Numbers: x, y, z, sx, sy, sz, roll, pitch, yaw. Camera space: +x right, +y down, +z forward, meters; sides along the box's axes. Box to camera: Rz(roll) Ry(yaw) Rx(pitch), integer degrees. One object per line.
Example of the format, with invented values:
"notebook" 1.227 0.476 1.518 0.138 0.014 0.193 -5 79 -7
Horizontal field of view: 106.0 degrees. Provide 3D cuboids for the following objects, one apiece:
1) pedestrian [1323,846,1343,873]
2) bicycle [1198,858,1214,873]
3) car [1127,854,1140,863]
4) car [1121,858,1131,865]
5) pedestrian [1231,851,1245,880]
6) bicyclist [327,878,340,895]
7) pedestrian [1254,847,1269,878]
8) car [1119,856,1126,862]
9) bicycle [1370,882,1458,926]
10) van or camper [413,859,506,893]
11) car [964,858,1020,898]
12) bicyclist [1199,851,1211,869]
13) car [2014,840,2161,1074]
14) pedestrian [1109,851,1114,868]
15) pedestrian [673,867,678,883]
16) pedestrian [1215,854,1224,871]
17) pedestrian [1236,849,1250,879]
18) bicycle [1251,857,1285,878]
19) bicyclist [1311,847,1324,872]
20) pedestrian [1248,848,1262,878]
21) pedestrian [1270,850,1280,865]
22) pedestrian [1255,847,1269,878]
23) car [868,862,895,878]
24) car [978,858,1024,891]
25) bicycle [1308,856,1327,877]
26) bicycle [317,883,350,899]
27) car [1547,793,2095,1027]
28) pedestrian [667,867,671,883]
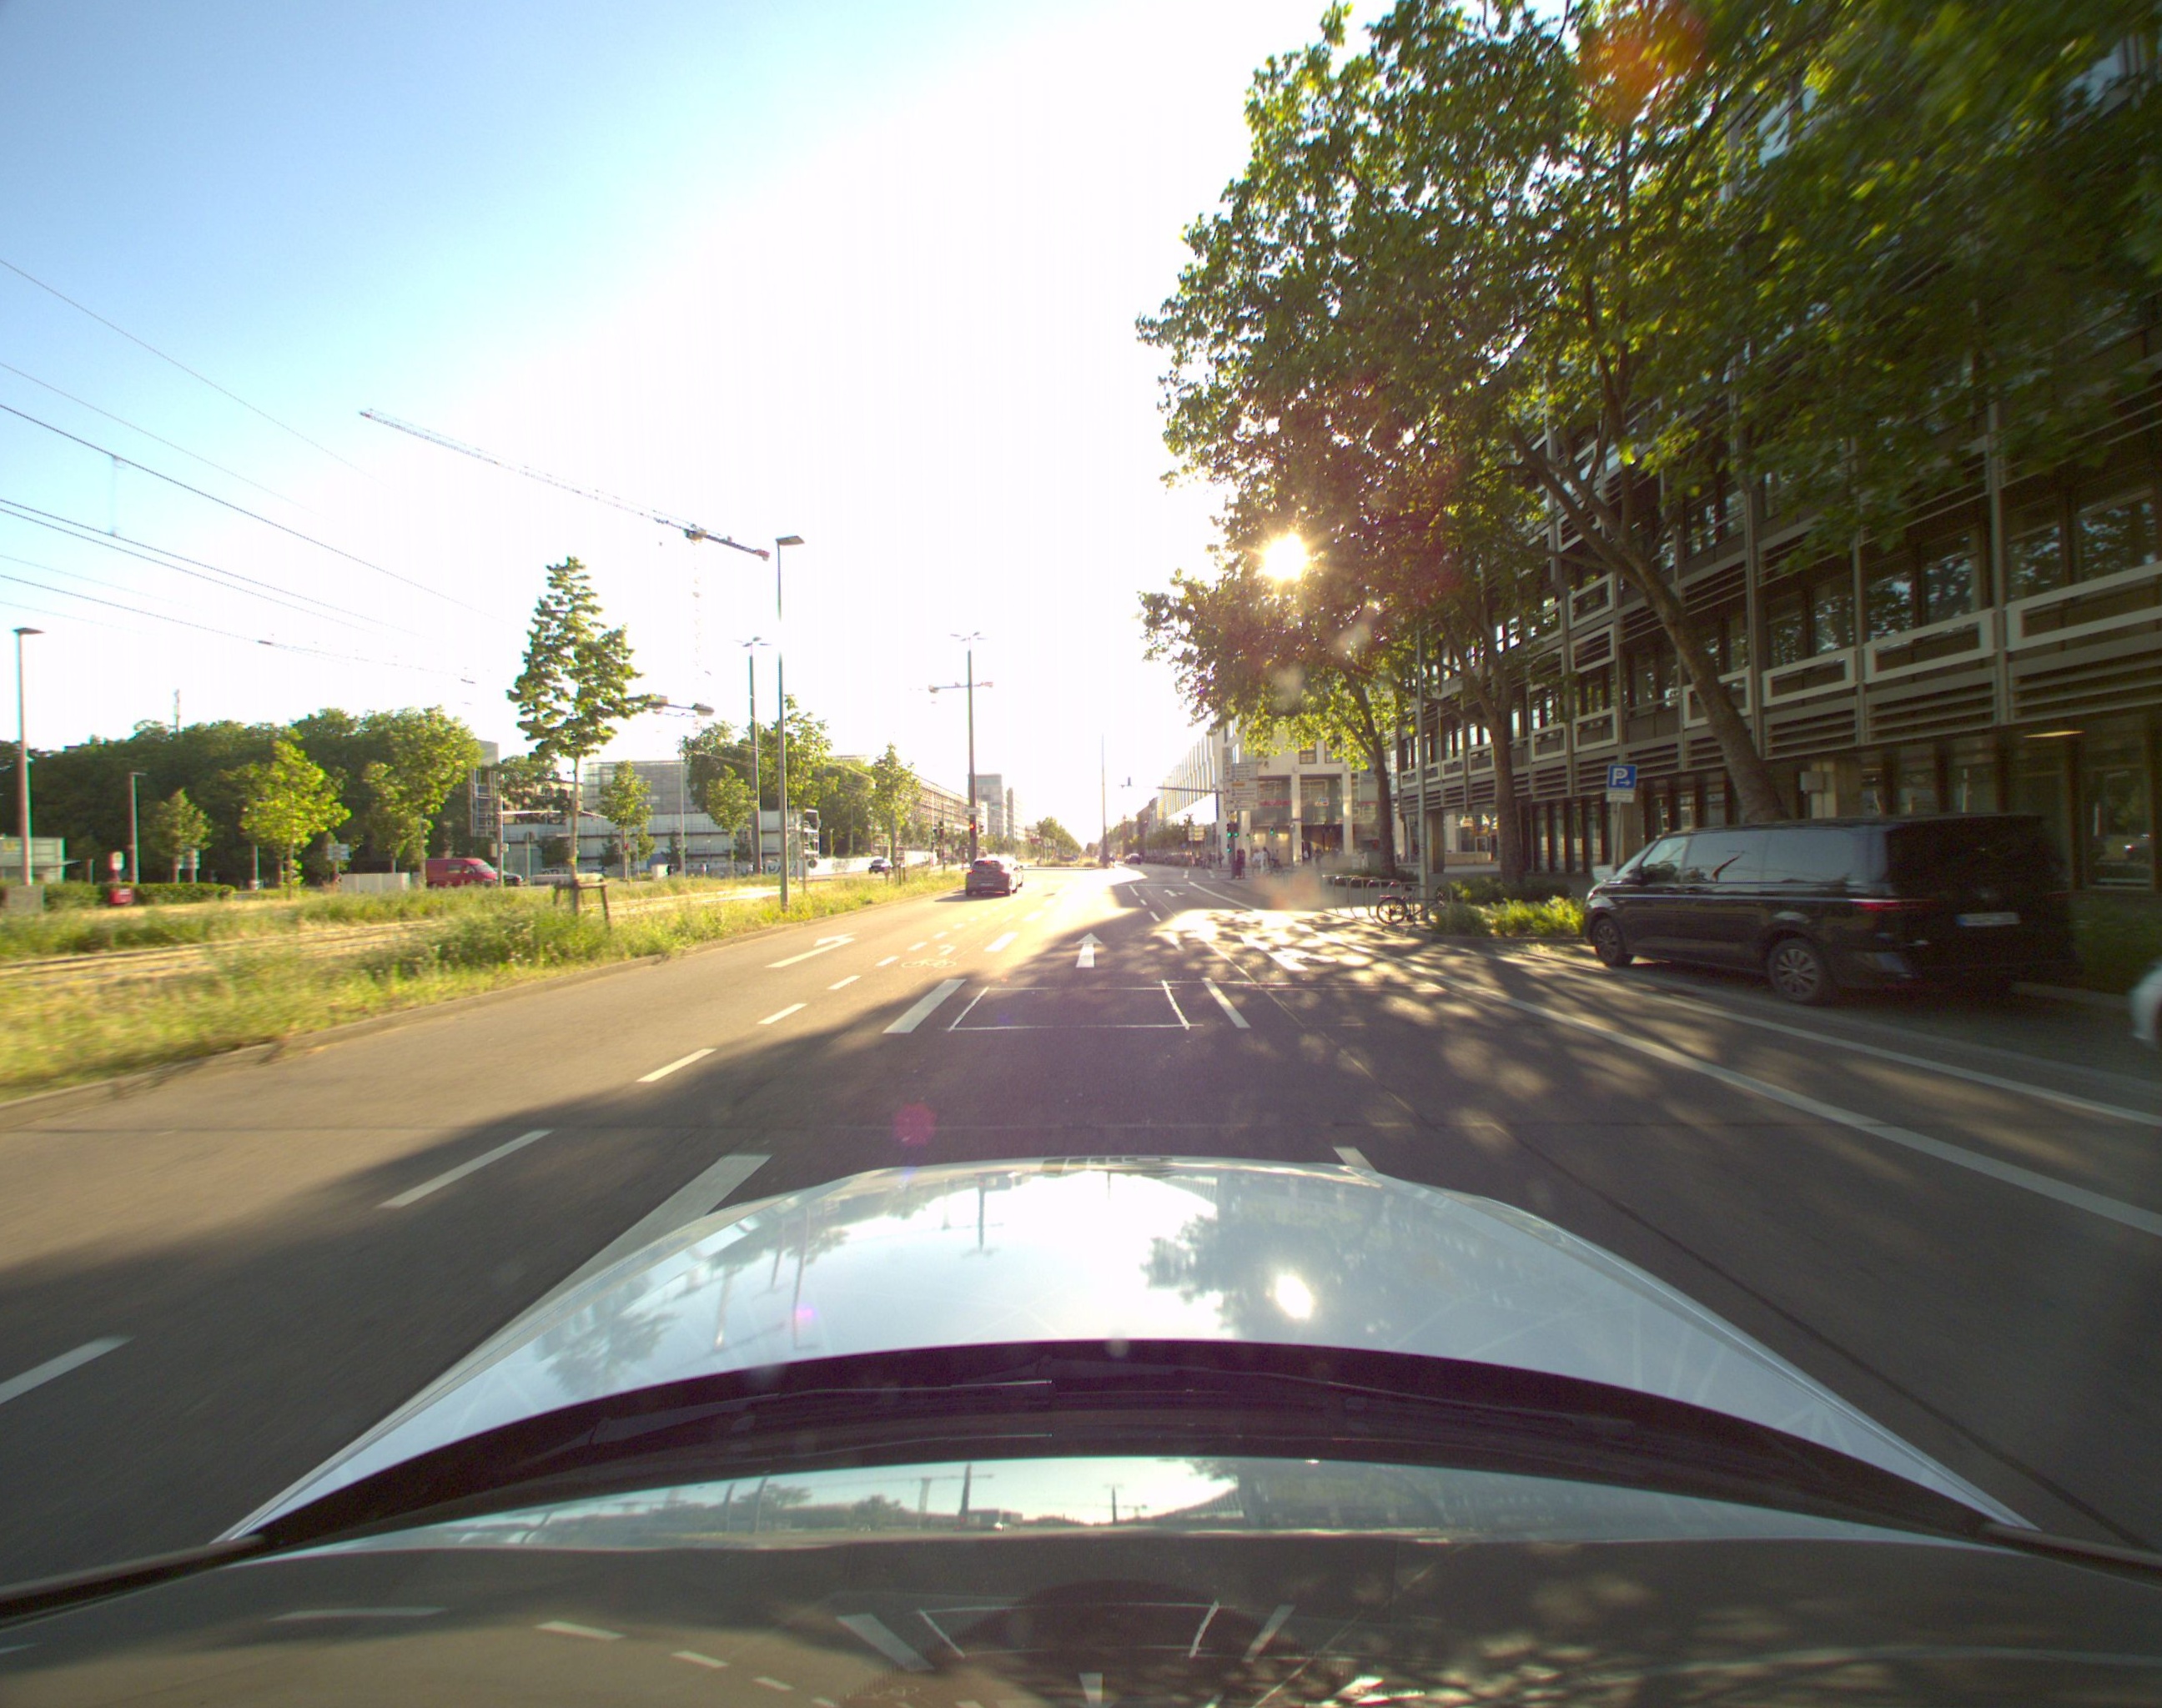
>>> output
"pedestrian" 15.985 0.350 51.616 0.905 1.703 1.114 -1 0 2
"bicycle" 11.139 1.019 72.513 0.792 1.204 2.277 -1 0 25
"car" 8.632 0.759 134.671 1.934 1.428 3.924 -1 0 -1
"car" 8.842 1.431 159.323 1.698 1.428 3.924 -1 0 -1
"pedestrian" 9.006 0.676 46.863 0.632 1.608 0.570 -3 0 2
"bicyclist" -49.683 2.167 54.110 0.410 1.142 0.504 -1 0 -4
"pedestrian" 10.010 0.477 45.240 0.632 1.703 0.570 -3 0 2
"car" 10.835 1.254 213.255 1.698 1.428 3.924 -1 0 -1
"bicycle" 7.284 1.093 17.869 1.682 0.867 0.574 -3 0 9
"van or camper" -48.551 1.696 63.716 5.637 2.414 2.156 -1 0 2
"car" -3.431 0.883 32.030 1.771 1.428 3.999 0 0 -1
"bicyclist" 11.021 0.560 72.296 0.793 1.602 0.789 -1 0 25
"car" 7.859 0.672 3.710 1.673 1.514 5.066 -4 0 5
"pedestrian" 3.143 0.559 83.862 0.492 1.743 0.446 -1 0 -9
"pedestrian" -37.477 1.901 75.215 0.273 1.465 0.315 -1 0 -6
"pedestrian" 14.420 0.908 84.756 0.813 1.734 0.791 -1 0 4
"pedestrian" 9.394 0.577 47.357 0.632 1.703 0.570 -3 0 2
"bicycle" 10.640 0.771 46.306 1.796 1.086 0.479 -3 0 2
"bicyclist" 14.643 0.328 50.503 0.576 1.522 0.750 -1 0 2
"pedestrian" 12.092 0.625 56.529 0.762 2.060 0.799 -3 0 7
"pedestrian" 20.669 0.340 86.768 0.866 1.585 0.825 -3 0 4
"pedestrian" 12.364 0.604 55.521 0.762 2.060 0.799 -3 0 7
"car" -23.429 1.820 95.768 1.986 1.776 4.001 -1 0 1
"car" -3.625 0.905 37.647 1.697 1.428 3.925 0 0 0
"bicycle" 14.652 0.745 50.422 0.589 1.232 2.155 -1 0 2
"bicycle" -49.669 2.460 54.103 1.651 0.971 0.506 -1 0 -5
"car" 8.102 0.501 9.905 1.822 1.971 5.323 -4 0 1
"pedestrian" -38.095 1.897 75.283 0.273 1.465 0.279 -1 0 -7
